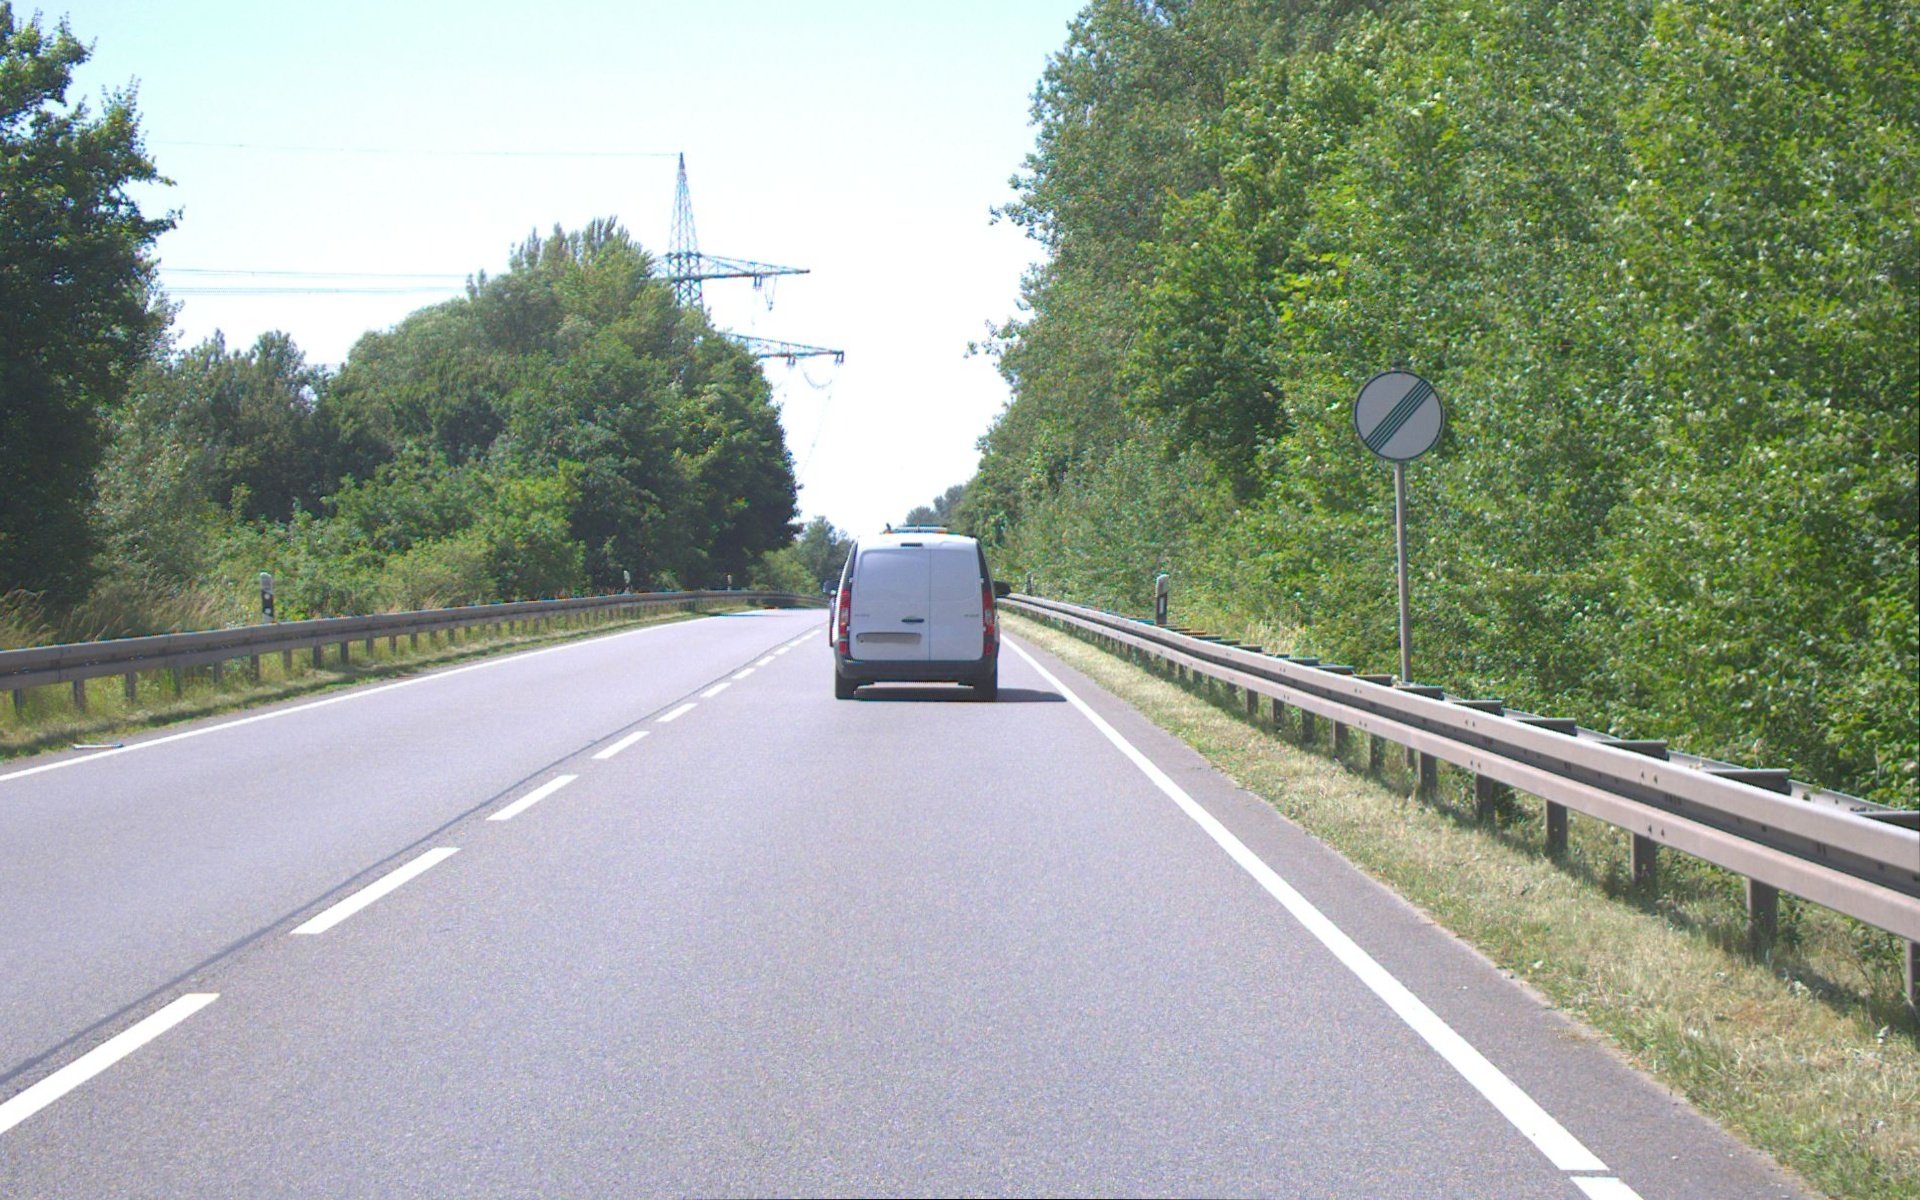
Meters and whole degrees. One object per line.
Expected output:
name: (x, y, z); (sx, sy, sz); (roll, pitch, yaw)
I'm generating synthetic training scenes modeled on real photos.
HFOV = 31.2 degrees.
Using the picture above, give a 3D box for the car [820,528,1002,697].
car: (-0.548, 0.109, 37.915); (1.875, 1.735, 4.000); (1, 1, -1)

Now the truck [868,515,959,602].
truck: (-1.831, -1.645, 135.061); (3.296, 3.161, 14.405); (2, 1, -1)
